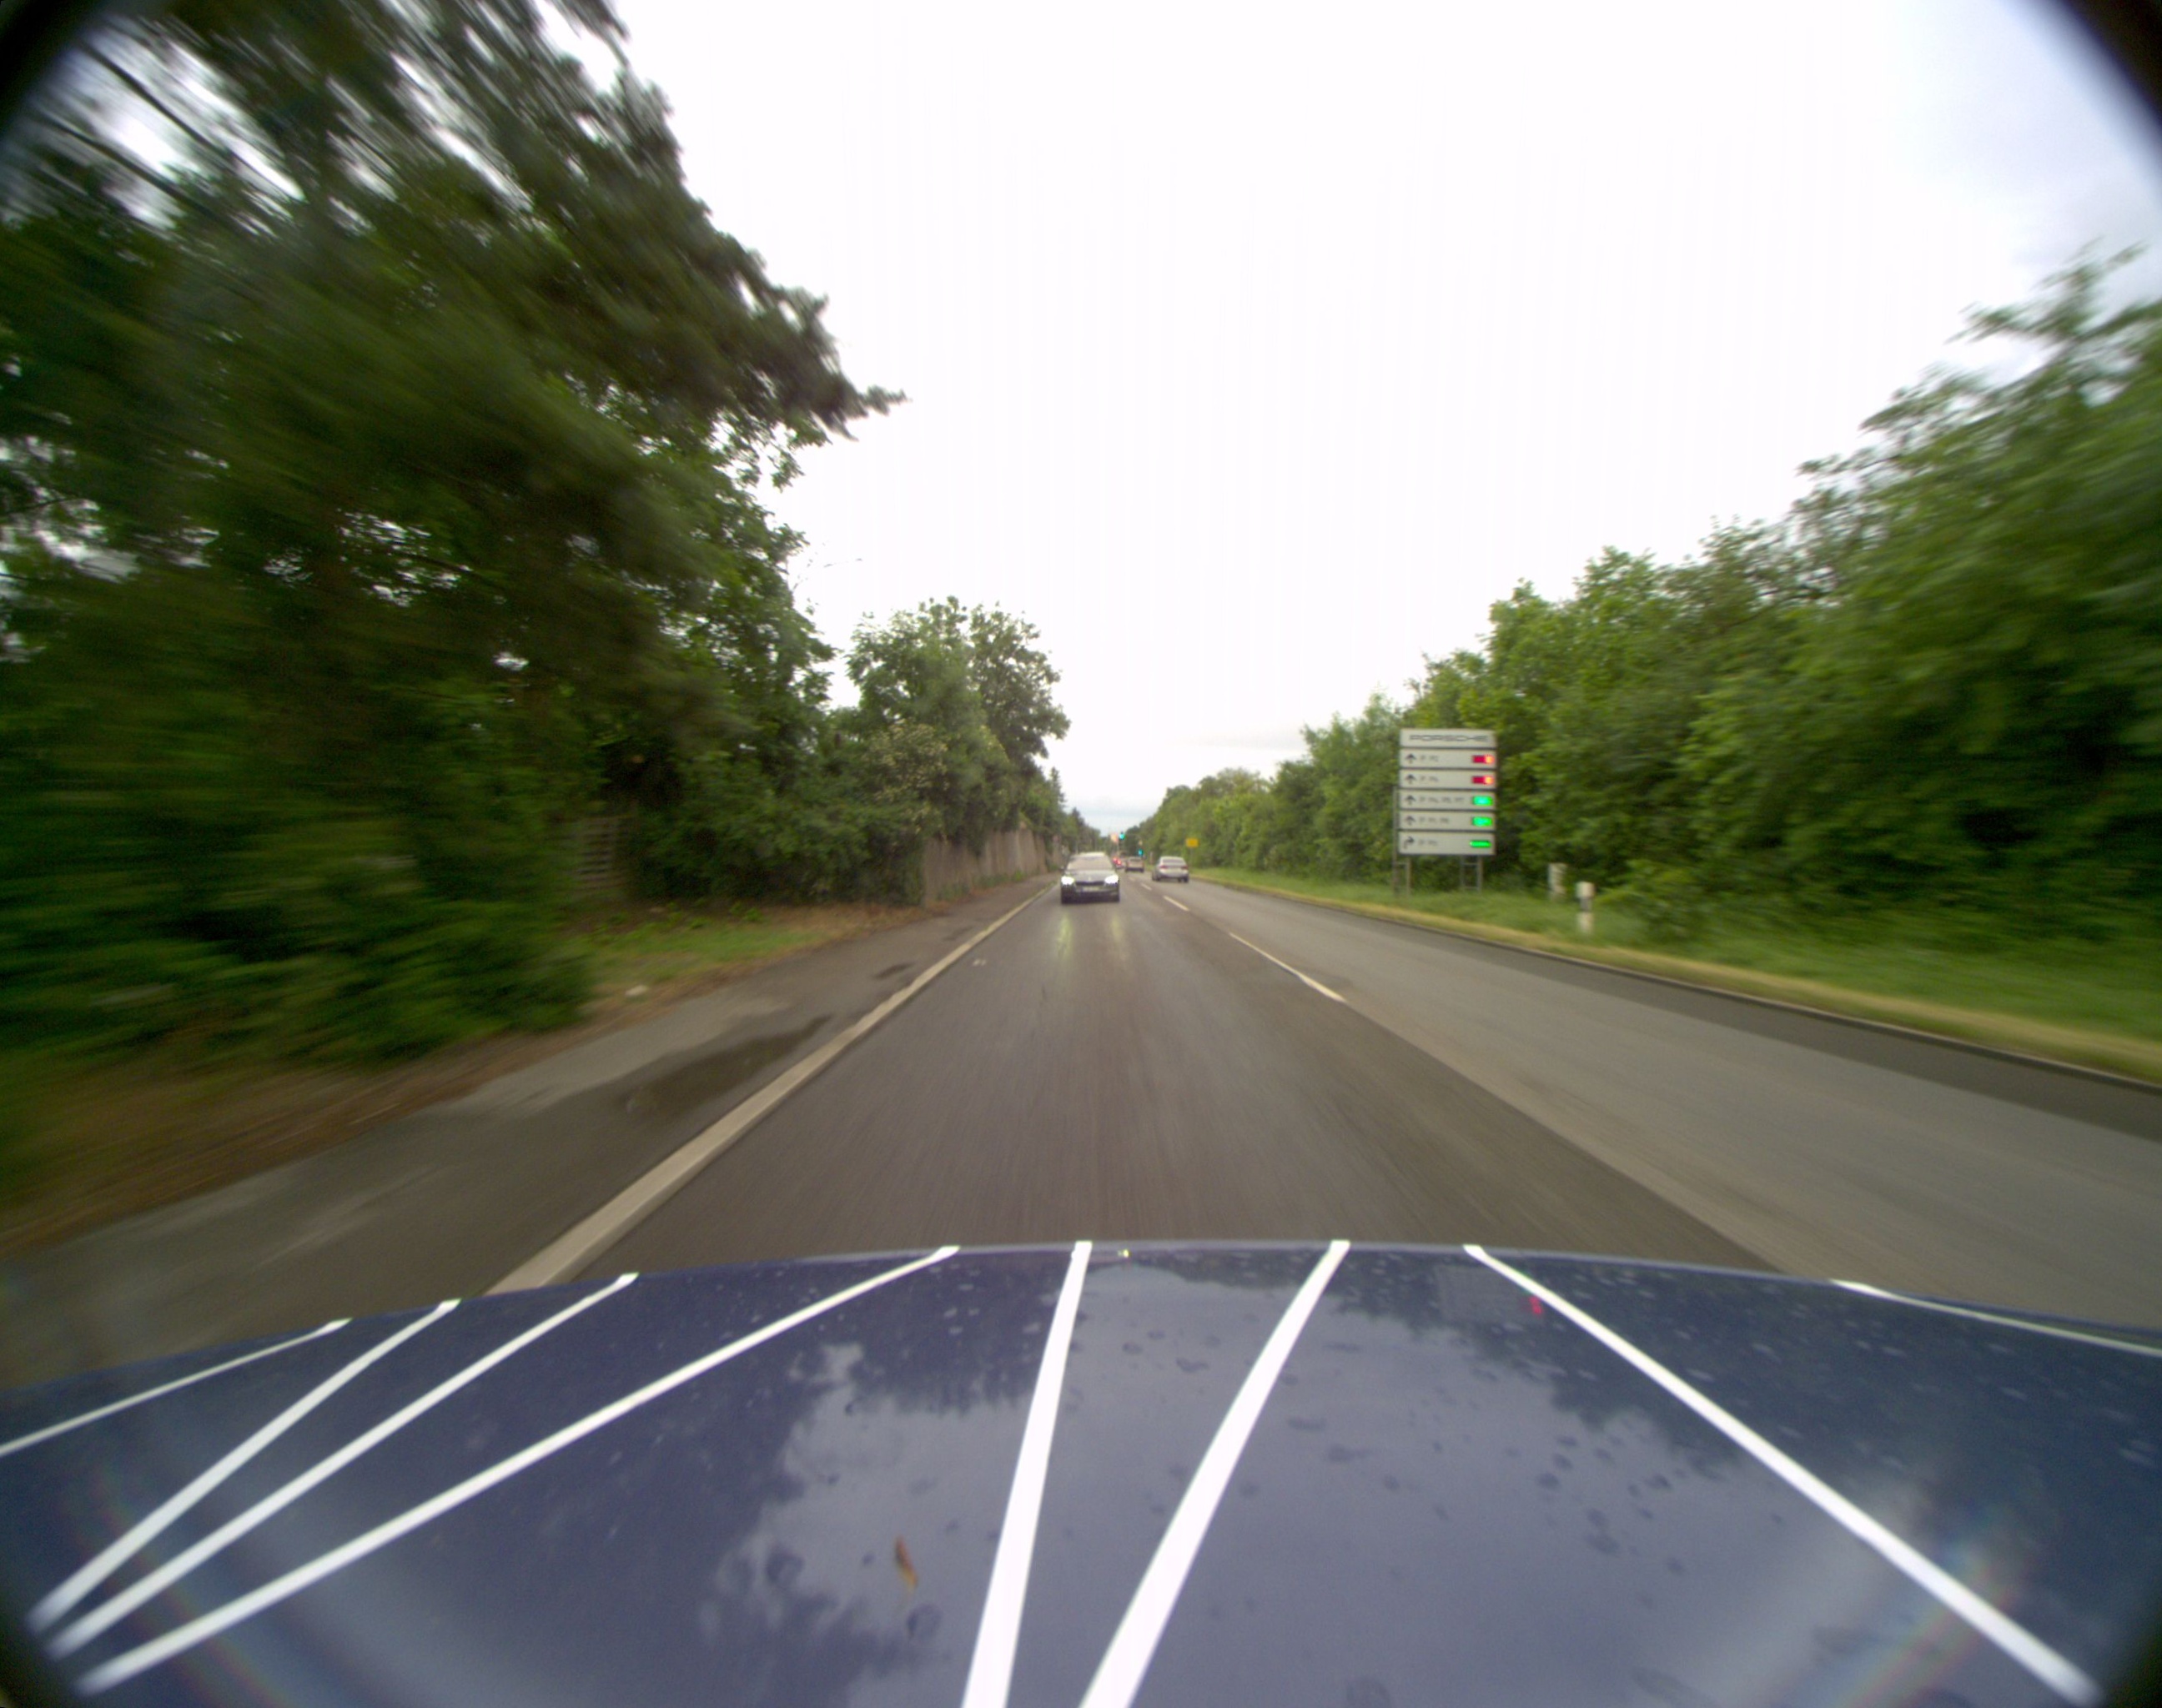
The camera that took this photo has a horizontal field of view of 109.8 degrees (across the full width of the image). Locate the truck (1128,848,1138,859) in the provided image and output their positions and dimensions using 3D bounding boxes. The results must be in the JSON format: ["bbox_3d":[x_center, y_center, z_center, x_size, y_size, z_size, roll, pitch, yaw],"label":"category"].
[{"bbox_3d":[13.271,-0.093,193.115,2.479,2.494,5.640,2,0,5],"label":"truck"}]

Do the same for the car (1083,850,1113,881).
[{"bbox_3d":[0.961,0.651,45.210,1.704,1.724,3.999,0,0,0],"label":"car"}]

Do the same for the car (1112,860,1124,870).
[{"bbox_3d":[6.316,1.847,130.861,1.737,1.584,4.282,2,0,0],"label":"car"}]

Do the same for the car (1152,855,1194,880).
[{"bbox_3d":[5.199,0.715,43.453,1.896,1.346,4.382,0,0,0],"label":"car"}]

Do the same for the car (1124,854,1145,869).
[{"bbox_3d":[5.180,0.702,73.741,1.830,1.411,4.320,1,0,1],"label":"car"}]

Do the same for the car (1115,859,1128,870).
[{"bbox_3d":[5.970,1.549,112.260,1.806,1.423,4.179,2,0,2],"label":"car"}]

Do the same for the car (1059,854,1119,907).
[{"bbox_3d":[0.264,0.782,24.003,1.675,1.477,4.215,-2,-1,1],"label":"car"}]
